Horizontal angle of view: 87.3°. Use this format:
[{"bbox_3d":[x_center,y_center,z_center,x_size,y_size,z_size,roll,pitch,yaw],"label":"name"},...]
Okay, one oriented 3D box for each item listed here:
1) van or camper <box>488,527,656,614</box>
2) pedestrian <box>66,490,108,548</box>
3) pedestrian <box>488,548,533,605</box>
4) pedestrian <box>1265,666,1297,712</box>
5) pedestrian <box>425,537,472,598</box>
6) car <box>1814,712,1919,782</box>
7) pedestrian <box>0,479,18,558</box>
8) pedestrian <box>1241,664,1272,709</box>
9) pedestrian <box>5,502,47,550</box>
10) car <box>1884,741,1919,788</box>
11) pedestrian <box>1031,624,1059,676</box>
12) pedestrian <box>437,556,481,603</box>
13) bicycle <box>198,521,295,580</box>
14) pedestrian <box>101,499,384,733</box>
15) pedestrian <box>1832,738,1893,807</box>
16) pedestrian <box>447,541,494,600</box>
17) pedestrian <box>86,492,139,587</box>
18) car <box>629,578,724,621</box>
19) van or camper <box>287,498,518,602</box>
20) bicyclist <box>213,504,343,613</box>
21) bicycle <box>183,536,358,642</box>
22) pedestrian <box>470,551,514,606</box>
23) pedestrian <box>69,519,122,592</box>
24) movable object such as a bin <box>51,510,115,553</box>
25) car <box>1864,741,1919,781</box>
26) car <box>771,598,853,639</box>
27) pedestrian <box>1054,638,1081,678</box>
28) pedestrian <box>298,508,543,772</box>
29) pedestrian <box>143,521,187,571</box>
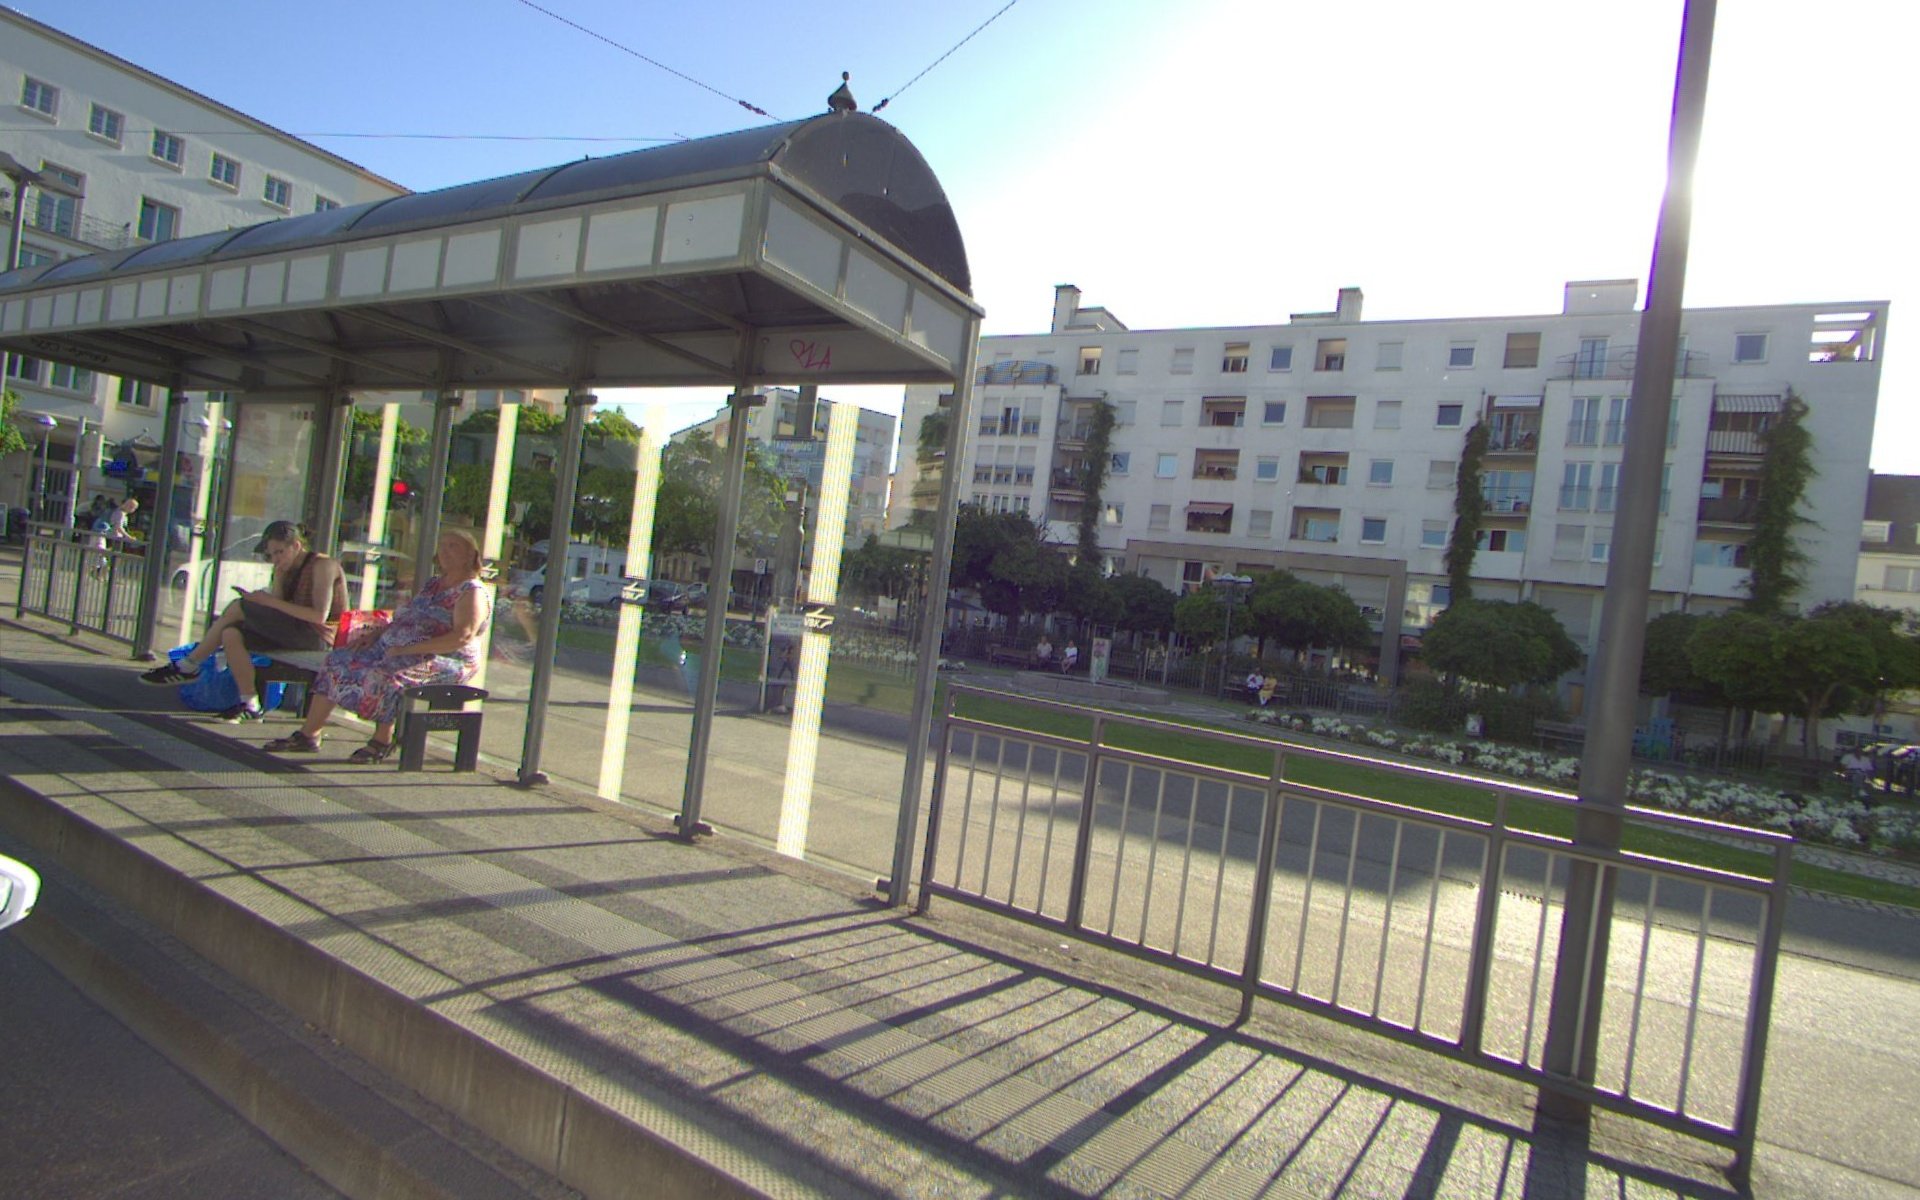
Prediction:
[{"bbox_3d":[-16.811,-1.201,44.041,2.340,2.873,6.410,7,-1,35],"label":"van or camper"},{"bbox_3d":[-29.810,-2.762,34.346,0.667,1.861,0.785,7,0,35],"label":"pedestrian"},{"bbox_3d":[-13.774,-0.728,30.836,0.651,1.605,0.902,7,0,35],"label":"pedestrian"},{"bbox_3d":[9.986,2.765,31.343,0.718,1.287,0.745,7,0,11],"label":"pedestrian"},{"bbox_3d":[-15.730,-0.992,30.938,0.684,1.705,0.902,7,0,35],"label":"pedestrian"},{"bbox_3d":[43.231,6.874,45.527,6.287,2.585,2.812,7,-1,29],"label":"car"},{"bbox_3d":[-23.876,-2.055,24.442,1.110,1.899,0.983,6,-2,29],"label":"pedestrian"},{"bbox_3d":[9.285,2.696,31.516,0.718,1.287,0.745,7,0,11],"label":"pedestrian"},{"bbox_3d":[-28.334,-2.249,30.524,0.736,1.332,0.622,7,0,-35],"label":"pedestrian"},{"bbox_3d":[36.545,6.268,36.648,3.941,1.535,1.993,7,-1,38],"label":"car"},{"bbox_3d":[2.984,1.744,35.176,0.661,1.745,1.028,7,0,11],"label":"pedestrian"},{"bbox_3d":[-15.177,-0.610,30.457,0.595,1.295,0.901,7,0,38],"label":"pedestrian"},{"bbox_3d":[-23.851,-1.626,33.694,0.714,1.548,2.391,7,-2,31],"label":"bicycle"},{"bbox_3d":[-4.398,0.117,6.209,0.908,1.238,1.001,6,-4,32],"label":"pedestrian"},{"bbox_3d":[21.439,4.064,23.912,0.923,1.428,1.521,7,-1,42],"label":"pedestrian"},{"bbox_3d":[-14.572,-0.871,29.967,0.651,1.605,0.902,7,0,35],"label":"pedestrian"},{"bbox_3d":[-16.562,-1.182,19.662,0.519,1.765,0.557,6,-1,42],"label":"pedestrian"},{"bbox_3d":[-14.035,-0.022,49.884,1.974,1.529,3.982,6,-3,43],"label":"car"},{"bbox_3d":[-20.731,-1.769,37.894,2.331,2.780,7.132,9,0,32],"label":"van or camper"},{"bbox_3d":[-9.057,-0.541,13.385,0.917,1.239,0.954,8,-2,24],"label":"bicyclist"},{"bbox_3d":[-9.199,-0.152,13.407,2.281,1.073,0.721,8,-2,24],"label":"bicycle"},{"bbox_3d":[-14.858,-0.686,31.966,0.651,1.604,0.902,7,0,35],"label":"pedestrian"},{"bbox_3d":[-15.788,-0.812,18.378,0.519,1.240,0.557,6,-1,42],"label":"pedestrian"},{"bbox_3d":[-28.405,-2.217,32.598,1.197,1.167,1.200,7,-1,32],"label":"movable object such as a bin"},{"bbox_3d":[39.504,6.725,40.800,3.941,1.303,1.993,7,-1,38],"label":"car"},{"bbox_3d":[-7.021,0.924,48.171,1.964,1.503,4.000,7,-1,23],"label":"car"},{"bbox_3d":[3.746,2.031,35.063,0.718,1.287,1.042,7,0,11],"label":"pedestrian"},{"bbox_3d":[-3.042,0.249,5.723,0.613,1.348,0.861,6,-3,31],"label":"pedestrian"},{"bbox_3d":[-25.199,-1.711,31.899,0.742,1.427,0.731,11,2,32],"label":"pedestrian"}]
